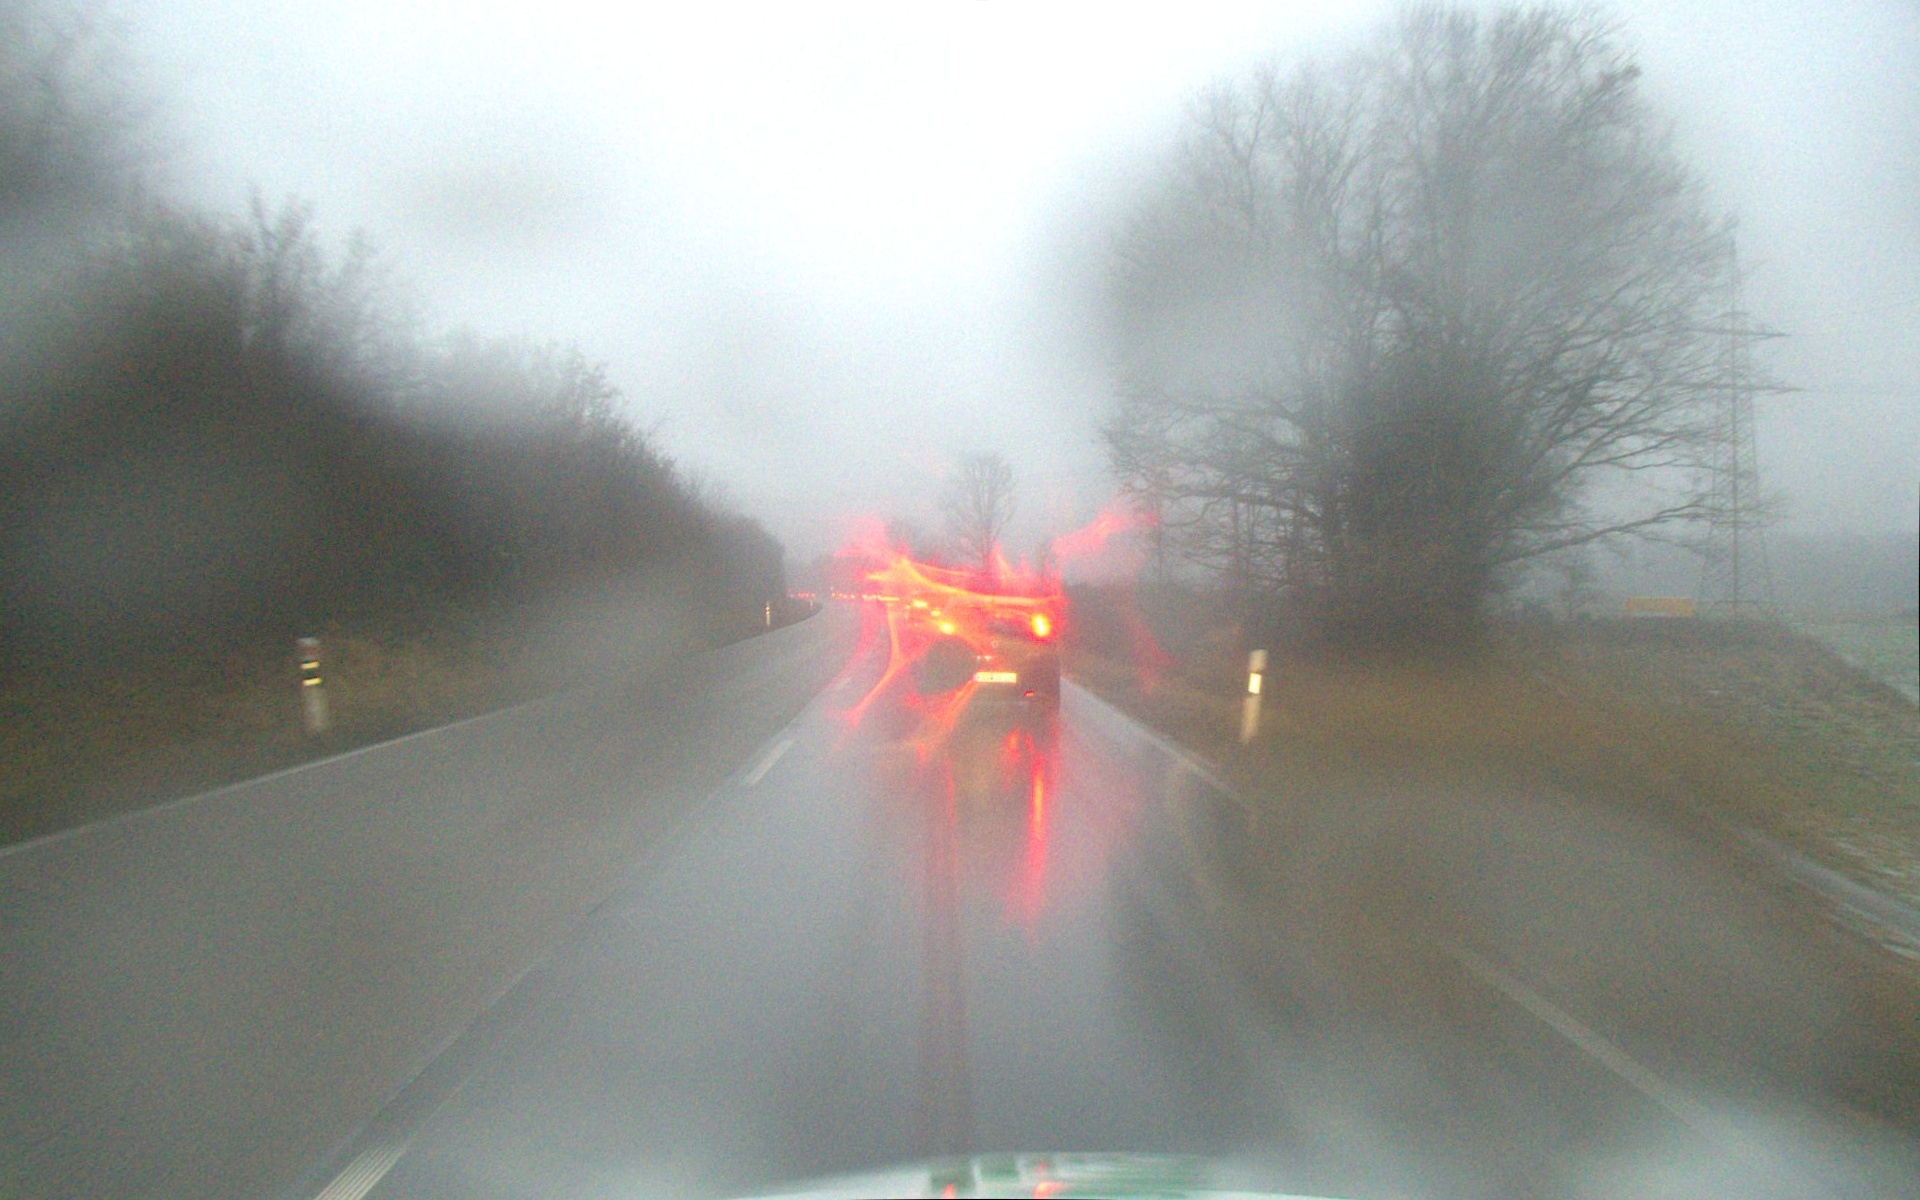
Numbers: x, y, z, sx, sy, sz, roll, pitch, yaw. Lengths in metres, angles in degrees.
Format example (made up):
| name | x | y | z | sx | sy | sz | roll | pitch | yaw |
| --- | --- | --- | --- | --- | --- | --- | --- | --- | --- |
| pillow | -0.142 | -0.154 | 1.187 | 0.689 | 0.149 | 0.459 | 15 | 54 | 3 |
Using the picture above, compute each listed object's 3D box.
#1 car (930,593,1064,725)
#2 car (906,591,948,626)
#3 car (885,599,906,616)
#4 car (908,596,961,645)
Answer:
| name | x | y | z | sx | sy | sz | roll | pitch | yaw |
| --- | --- | --- | --- | --- | --- | --- | --- | --- | --- |
| car | 0.435 | 0.692 | 21.608 | 1.569 | 1.548 | 3.869 | 1 | 0 | 0 |
| car | -1.381 | 0.360 | 70.234 | 1.515 | 1.421 | 3.870 | 1 | 0 | 2 |
| car | -5.389 | 0.634 | 138.975 | 1.515 | 1.421 | 3.870 | 1 | 0 | 1 |
| car | -0.752 | 0.584 | 50.602 | 1.515 | 1.421 | 3.869 | 1 | 0 | 0 |
